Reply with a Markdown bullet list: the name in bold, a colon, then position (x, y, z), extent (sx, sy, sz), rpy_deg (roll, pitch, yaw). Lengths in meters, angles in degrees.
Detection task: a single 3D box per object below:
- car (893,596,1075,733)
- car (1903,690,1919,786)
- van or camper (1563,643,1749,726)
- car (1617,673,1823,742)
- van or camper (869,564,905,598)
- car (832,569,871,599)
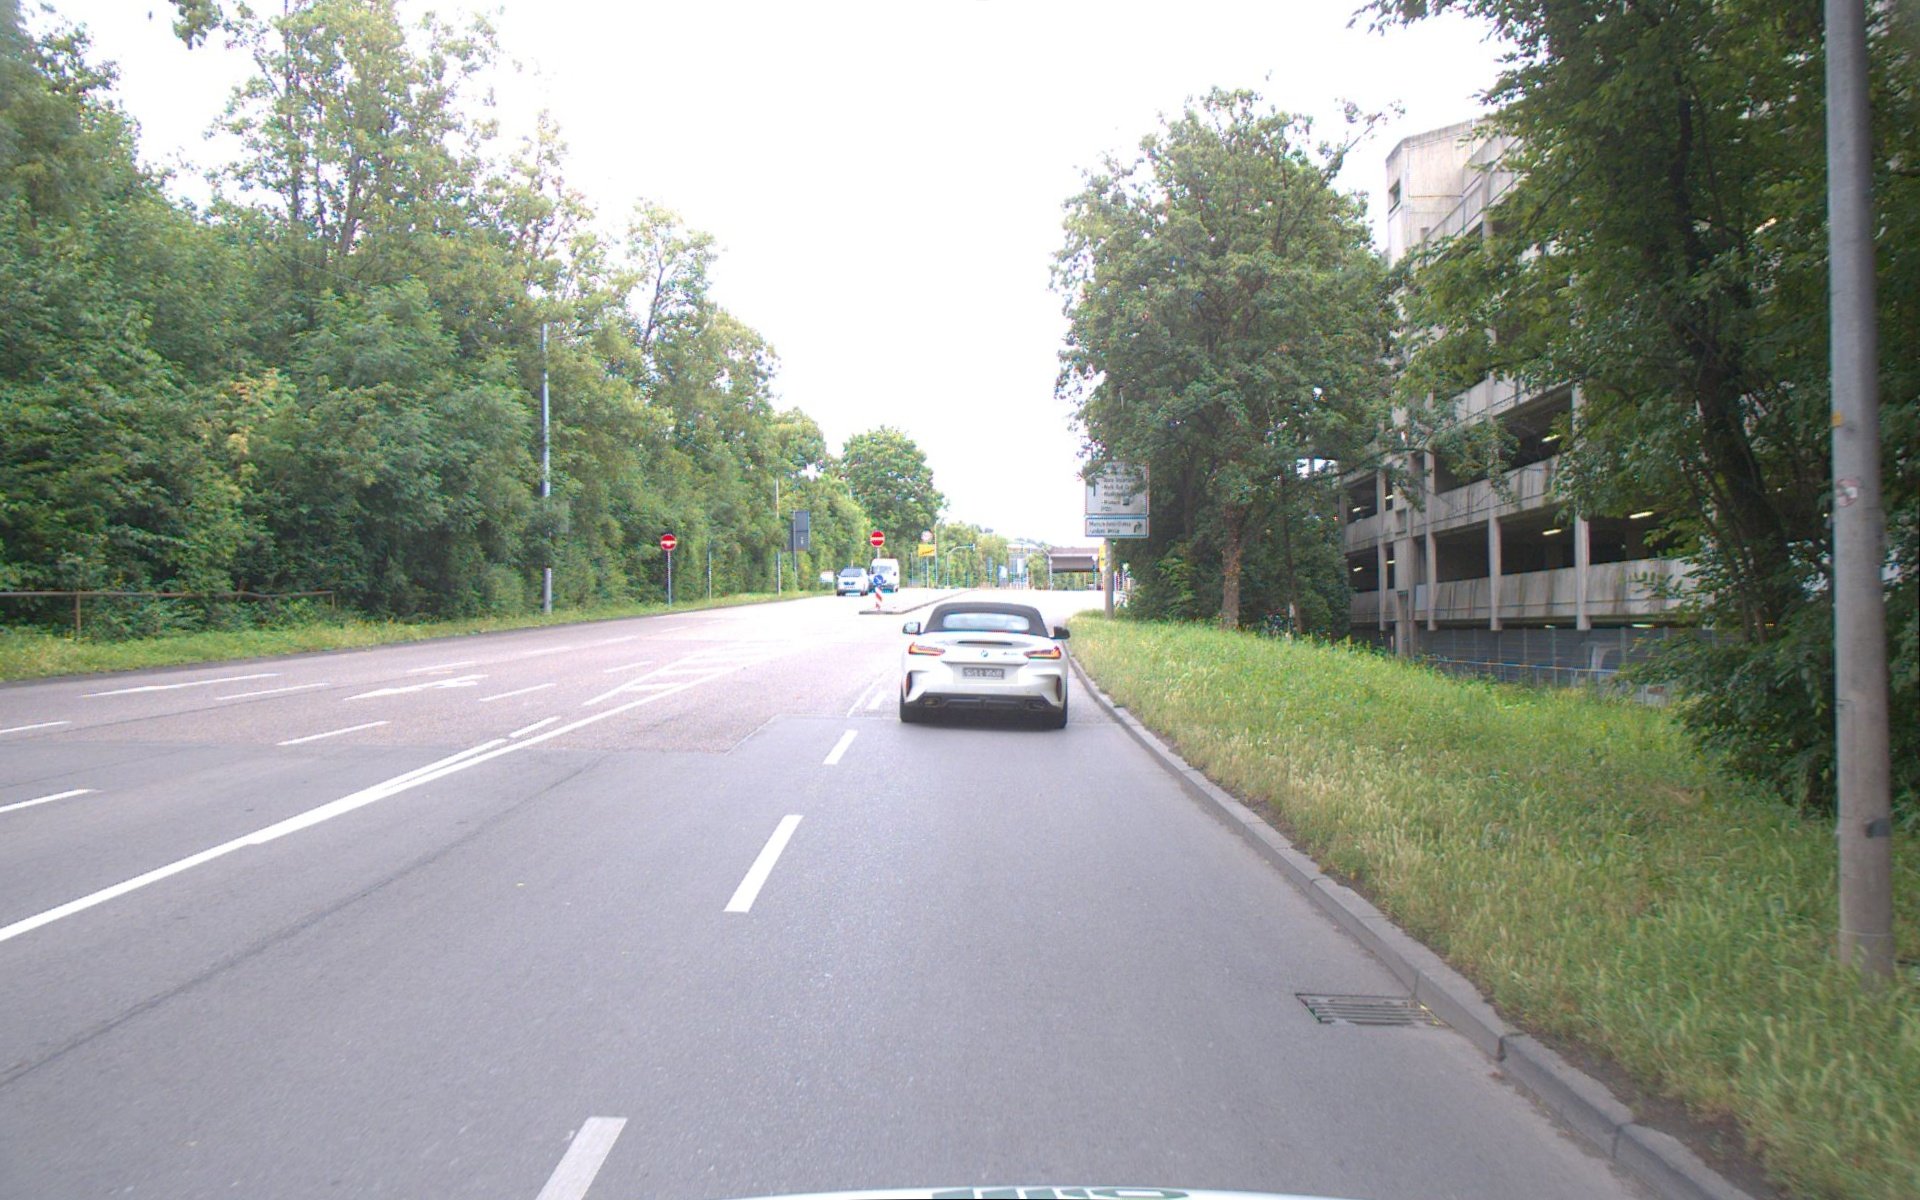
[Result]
- **car**: position (0.293, 0.668, 19.091), extent (1.836, 1.332, 3.873), rpy_deg (3, 0, 1)
- **car**: position (17.915, 2.222, 26.476), extent (4.496, 1.533, 1.948), rpy_deg (-1, 0, 1)
- **van or camper**: position (17.697, 2.128, 42.172), extent (3.923, 1.988, 1.840), rpy_deg (-1, -1, 0)
- **car**: position (17.780, 2.504, 38.811), extent (3.923, 1.462, 1.949), rpy_deg (-1, -1, 0)
- **van or camper**: position (-5.742, -1.477, 130.331), extent (2.235, 2.599, 6.861), rpy_deg (1, 0, 2)
- **car**: position (-7.065, -1.061, 107.961), extent (1.774, 1.862, 4.387), rpy_deg (0, 1, 7)
